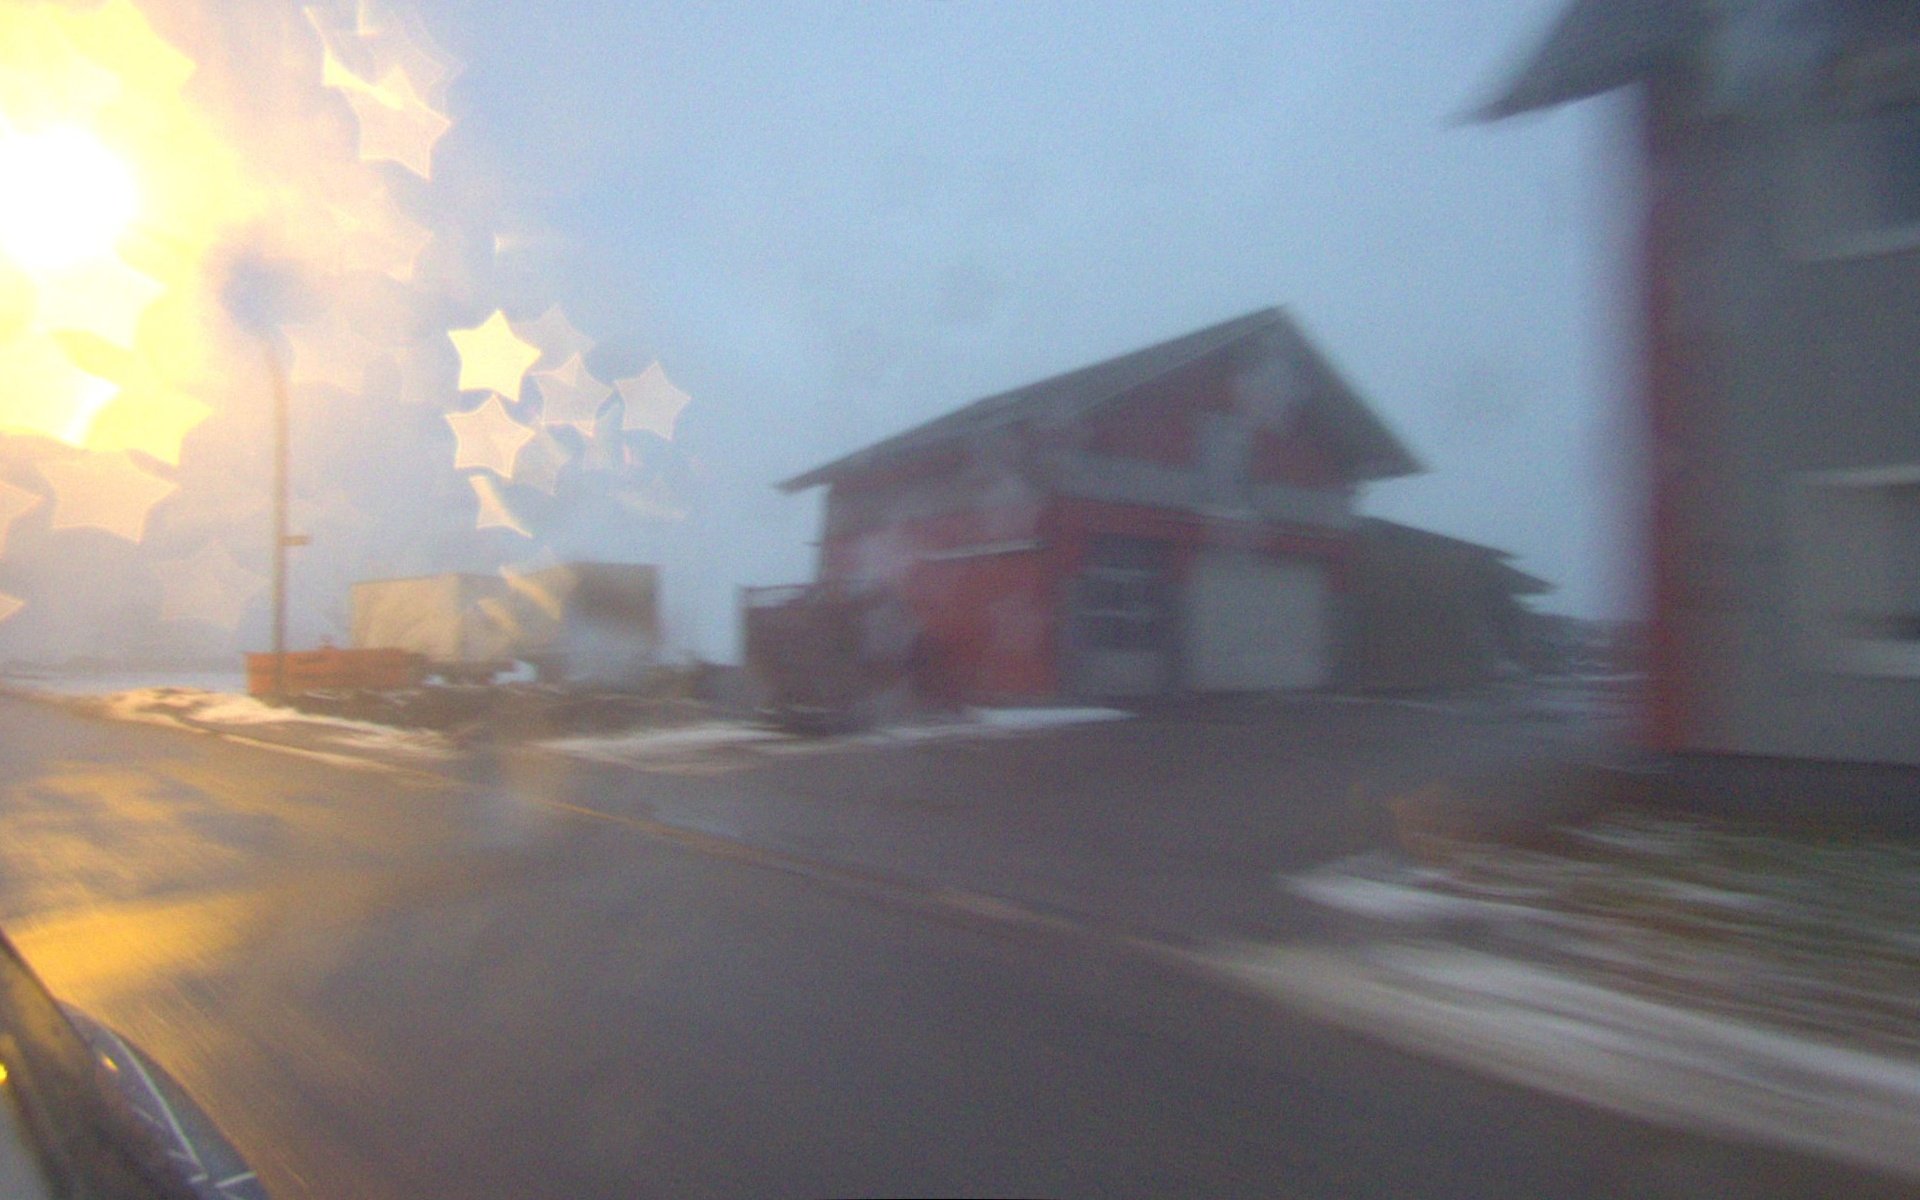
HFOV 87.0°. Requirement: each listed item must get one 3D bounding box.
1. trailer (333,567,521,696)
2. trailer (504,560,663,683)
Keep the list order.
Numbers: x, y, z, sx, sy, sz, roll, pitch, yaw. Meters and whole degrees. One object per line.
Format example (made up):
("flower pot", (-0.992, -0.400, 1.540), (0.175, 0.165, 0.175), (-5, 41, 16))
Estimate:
("trailer", (-11.510, 0.721, 21.921), (3.419, 2.625, 1.683), (-1, -5, 21))
("trailer", (-8.554, 0.582, 22.843), (1.969, 2.508, 4.015), (4, -6, -42))
